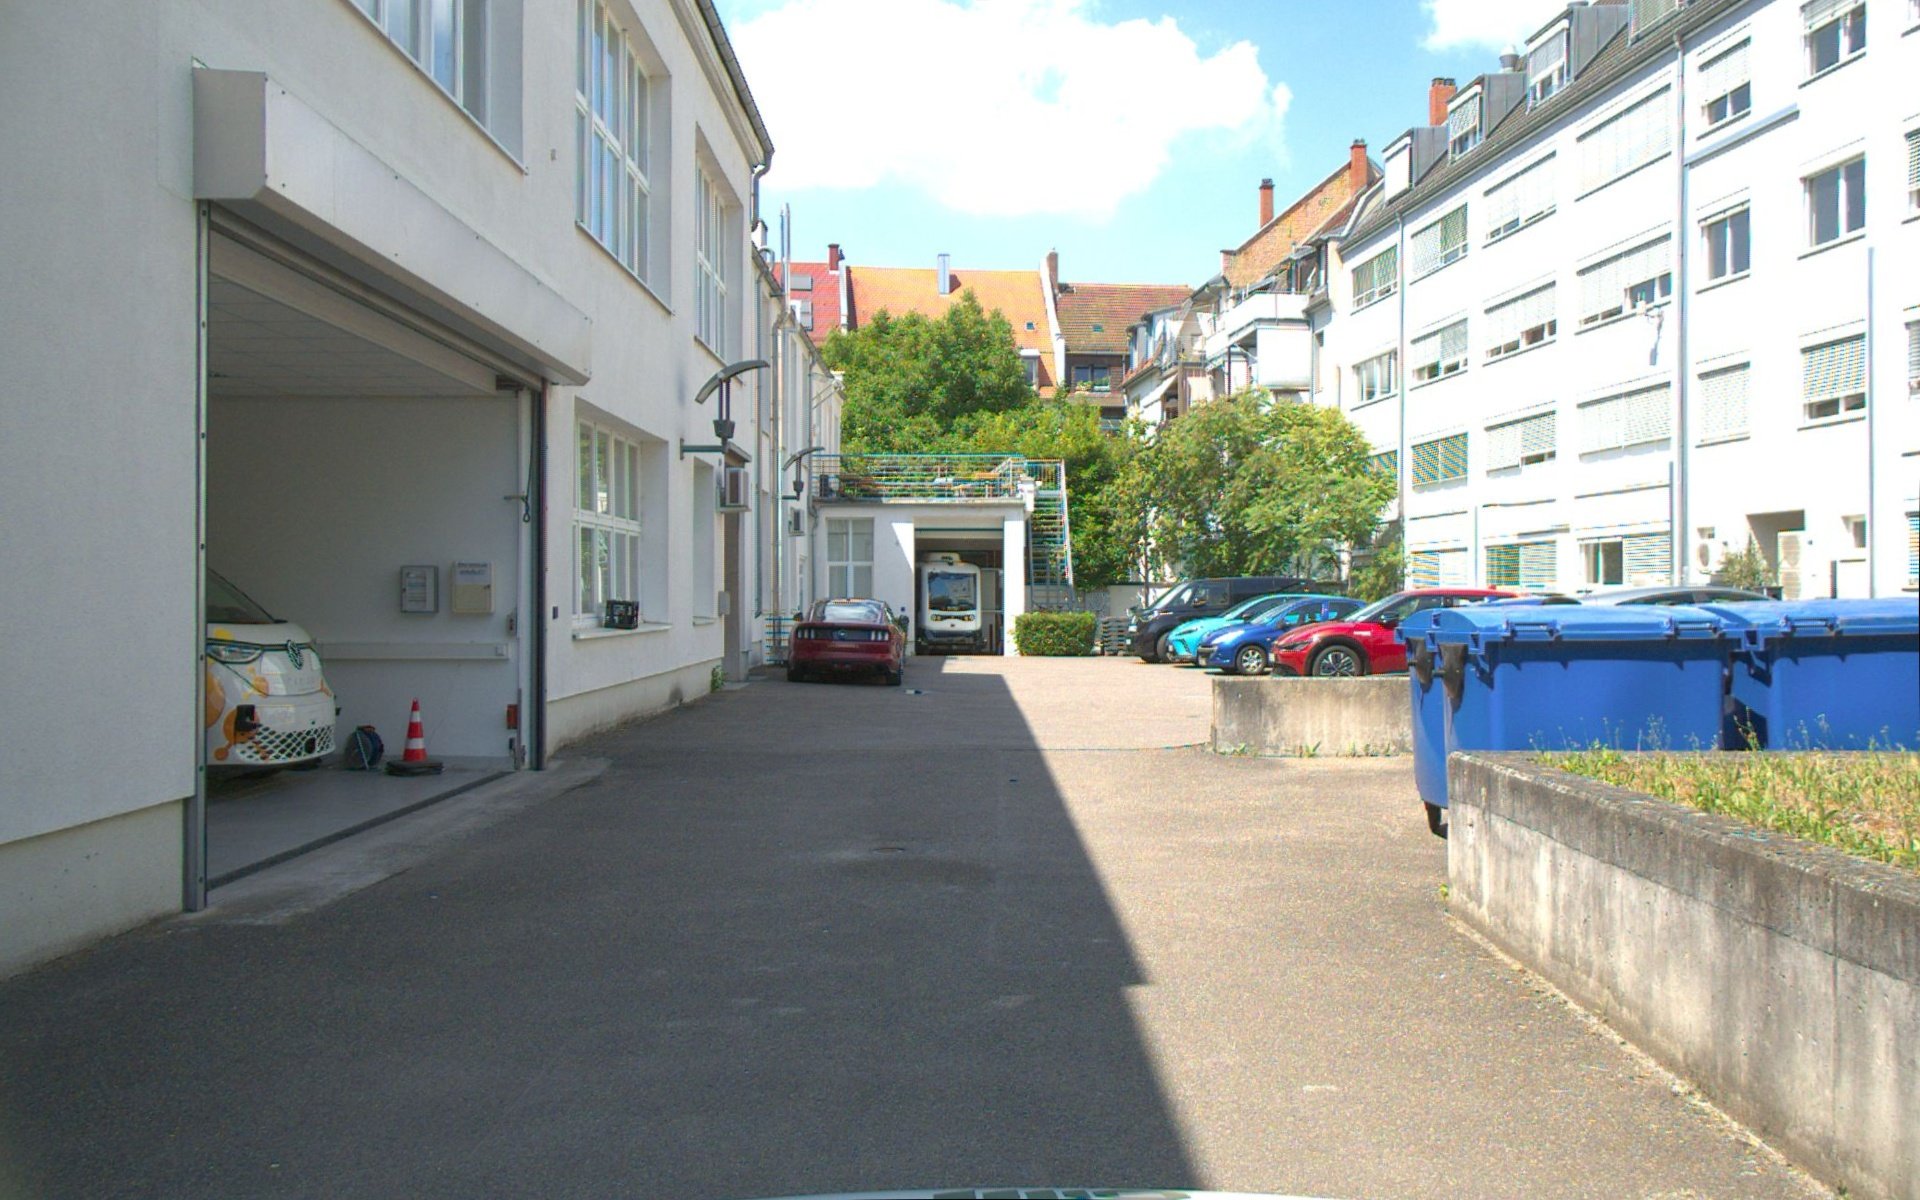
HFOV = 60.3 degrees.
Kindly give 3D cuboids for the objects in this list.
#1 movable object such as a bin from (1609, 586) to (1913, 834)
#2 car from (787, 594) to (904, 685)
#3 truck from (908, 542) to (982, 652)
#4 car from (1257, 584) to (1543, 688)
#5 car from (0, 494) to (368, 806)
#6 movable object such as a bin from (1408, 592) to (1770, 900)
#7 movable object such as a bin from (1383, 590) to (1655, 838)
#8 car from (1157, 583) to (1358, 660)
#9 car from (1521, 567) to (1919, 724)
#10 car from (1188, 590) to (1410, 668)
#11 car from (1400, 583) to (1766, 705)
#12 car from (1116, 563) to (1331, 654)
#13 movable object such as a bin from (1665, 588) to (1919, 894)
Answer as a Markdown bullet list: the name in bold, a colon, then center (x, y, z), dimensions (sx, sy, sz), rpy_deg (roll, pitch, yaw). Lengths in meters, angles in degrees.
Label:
- **movable object such as a bin**: center (4.632, 0.598, 9.668), dimensions (1.191, 1.350, 1.160), rpy_deg (-1, 0, -2)
- **car**: center (-1.878, 0.619, 28.140), dimensions (1.762, 1.414, 3.999), rpy_deg (0, 0, -1)
- **truck**: center (-0.474, -0.084, 47.126), dimensions (1.753, 2.988, 4.648), rpy_deg (0, 0, -5)
- **car**: center (6.710, 0.520, 25.485), dimensions (3.906, 1.504, 1.804), rpy_deg (-1, 0, -2)
- **car**: center (-6.896, 0.305, 12.080), dimensions (4.387, 2.060, 1.981), rpy_deg (1, 0, 0)
- **movable object such as a bin**: center (2.940, 0.647, 7.903), dimensions (1.311, 1.350, 1.161), rpy_deg (-1, 0, 2)
- **movable object such as a bin**: center (3.220, 0.620, 9.666), dimensions (1.168, 1.350, 1.160), rpy_deg (-1, 0, -2)
- **car**: center (6.271, 0.432, 35.103), dimensions (3.906, 1.561, 1.804), rpy_deg (-1, 0, -2)
- **car**: center (8.086, 0.436, 17.183), dimensions (3.906, 1.504, 1.804), rpy_deg (-1, 0, -2)
- **car**: center (6.531, 0.540, 32.125), dimensions (3.906, 1.414, 1.804), rpy_deg (-1, 0, -2)
- **car**: center (7.702, 0.519, 20.701), dimensions (3.906, 1.414, 1.804), rpy_deg (-1, 0, -2)
- **car**: center (6.018, 0.186, 38.142), dimensions (4.583, 1.992, 2.076), rpy_deg (-1, 0, -2)
- **movable object such as a bin**: center (4.210, 0.626, 7.932), dimensions (1.191, 1.350, 1.161), rpy_deg (-1, 0, 2)
